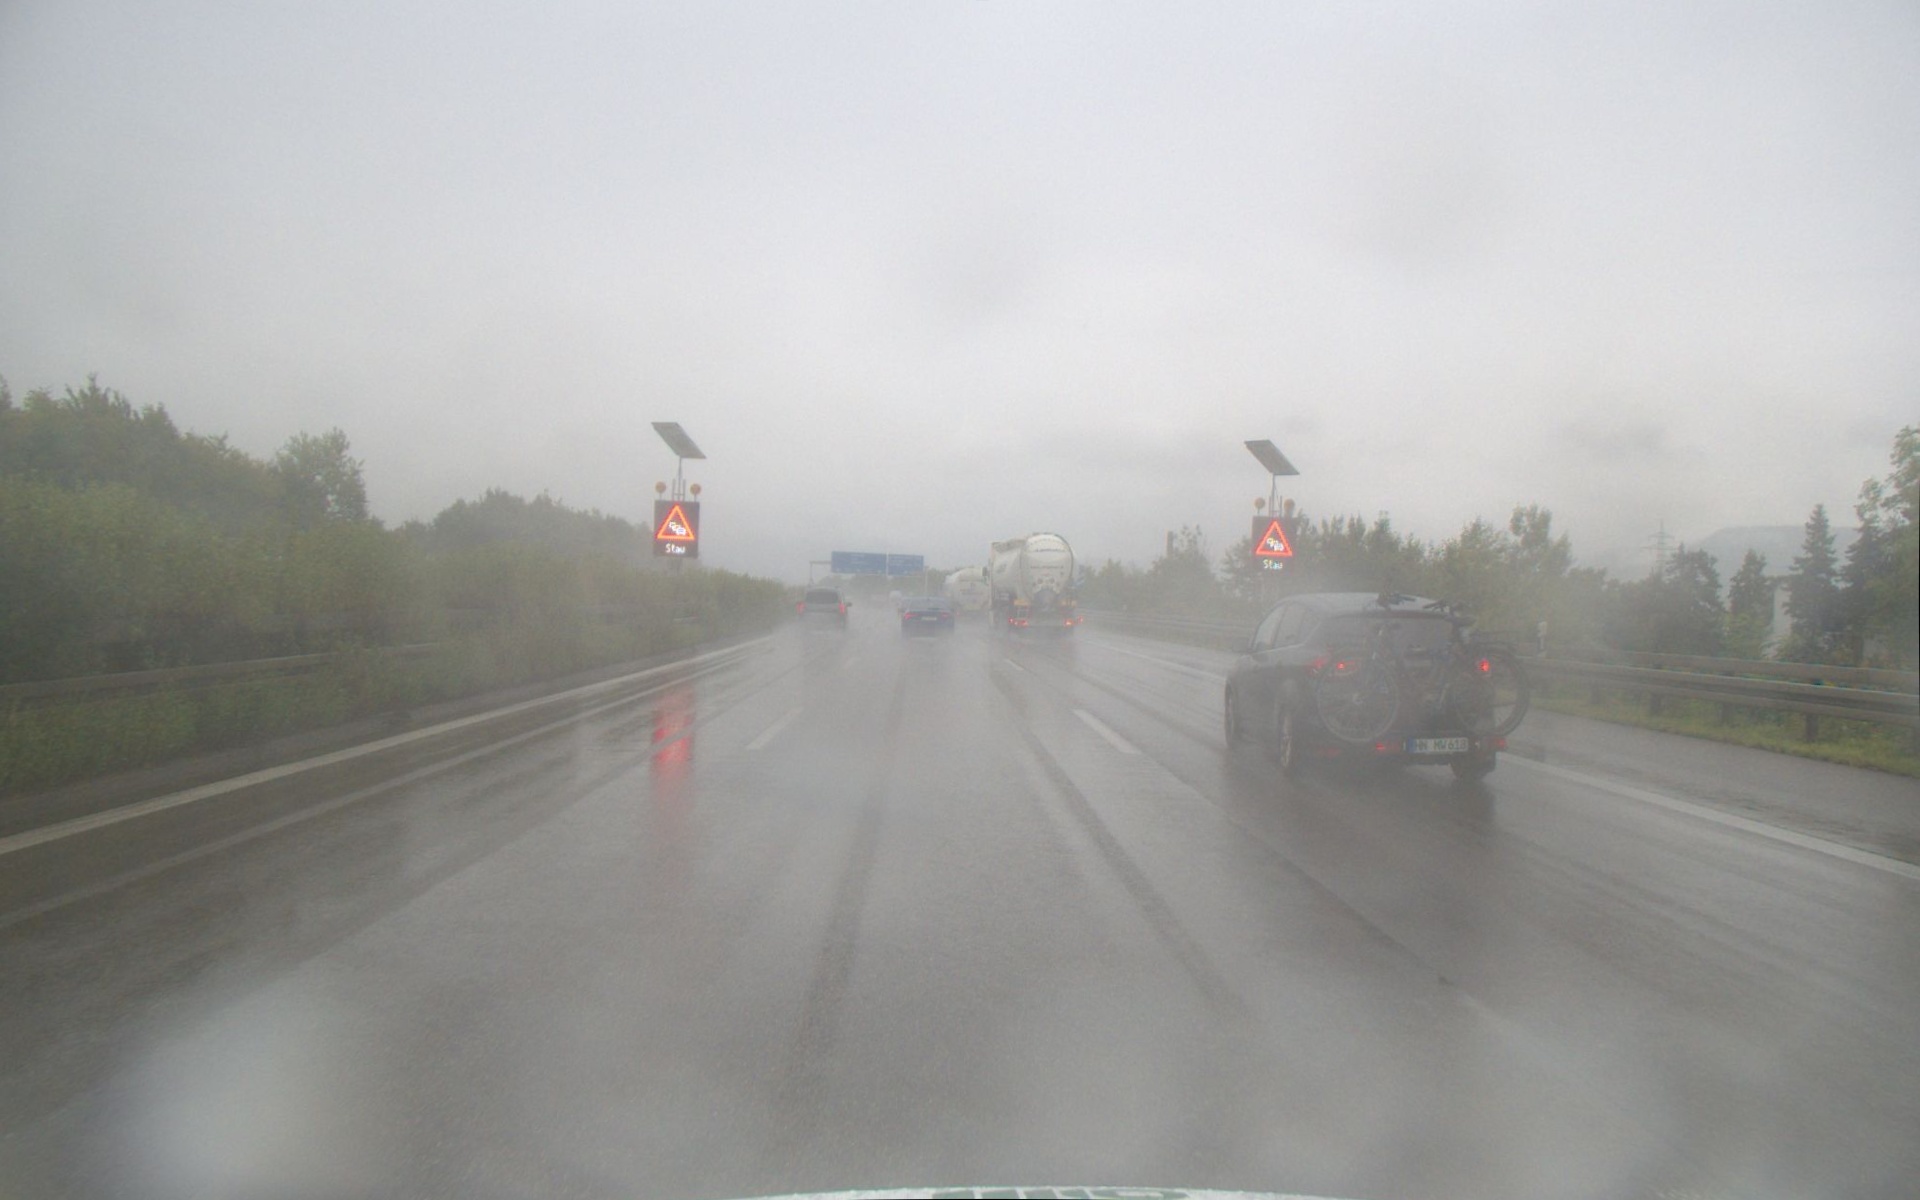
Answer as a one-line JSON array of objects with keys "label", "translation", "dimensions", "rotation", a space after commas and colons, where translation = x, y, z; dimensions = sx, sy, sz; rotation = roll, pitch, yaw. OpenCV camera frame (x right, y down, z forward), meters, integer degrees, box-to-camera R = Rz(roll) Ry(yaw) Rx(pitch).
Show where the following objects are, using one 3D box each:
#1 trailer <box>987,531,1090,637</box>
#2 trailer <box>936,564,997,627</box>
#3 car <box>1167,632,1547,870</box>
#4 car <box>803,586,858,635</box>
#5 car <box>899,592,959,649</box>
[{"label": "trailer", "translation": [2.899, -0.605, 64.969], "dimensions": [3.124, 3.734, 11.662], "rotation": [1, 0, -2]}, {"label": "trailer", "translation": [0.341, -0.316, 108.154], "dimensions": [2.947, 3.915, 8.613], "rotation": [2, 0, -6]}, {"label": "car", "translation": [3.571, 1.277, 16.251], "dimensions": [2.407, 1.776, 5.719], "rotation": [1, 0, 1]}, {"label": "car", "translation": [-4.878, 0.389, 62.814], "dimensions": [1.887, 1.771, 4.401], "rotation": [1, 0, -3]}, {"label": "car", "translation": [-1.072, 0.651, 55.577], "dimensions": [1.938, 1.787, 4.480], "rotation": [1, 0, -2]}]
